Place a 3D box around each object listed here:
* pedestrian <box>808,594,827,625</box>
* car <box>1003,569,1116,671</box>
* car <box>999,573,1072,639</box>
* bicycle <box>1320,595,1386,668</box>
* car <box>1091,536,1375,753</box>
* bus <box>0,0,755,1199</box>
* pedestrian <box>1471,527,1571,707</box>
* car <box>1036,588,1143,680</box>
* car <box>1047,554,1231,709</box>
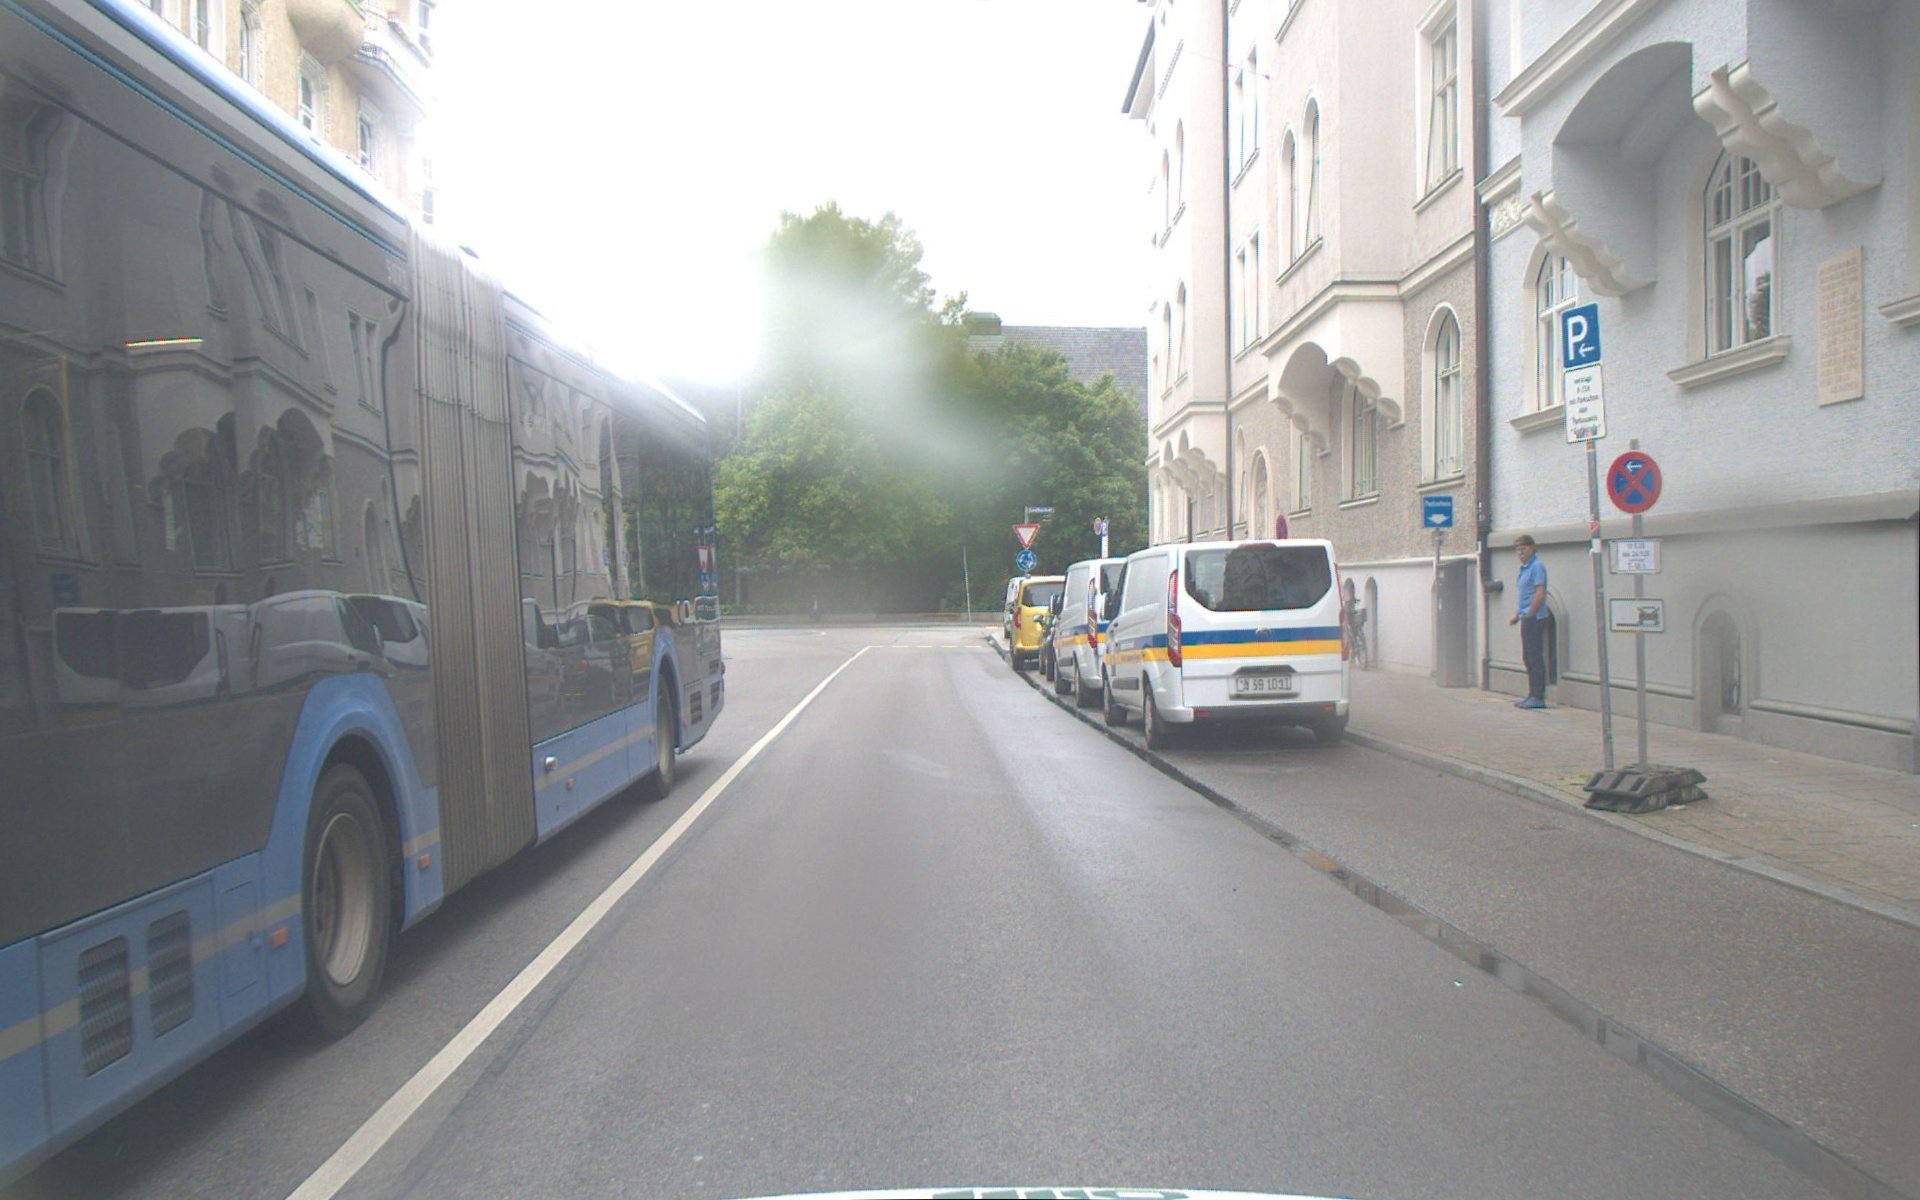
[{"bbox_3d":[-6.547,0.429,75.810,0.753,1.380,1.131,-1,0,0],"label":"pedestrian"},{"bbox_3d":[2.008,0.381,34.741,1.953,1.952,4.570,-1,0,-2],"label":"car"},{"bbox_3d":[2.391,0.164,53.488,1.899,1.955,5.373,-2,0,-2],"label":"car"},{"bbox_3d":[6.484,0.498,27.332,0.652,1.153,1.722,-1,0,0],"label":"bicycle"},{"bbox_3d":[2.709,0.398,17.642,1.954,1.952,4.875,-1,0,-3],"label":"car"},{"bbox_3d":[-3.559,-0.063,6.951,3.107,3.268,18.056,-2,0,0],"label":"bus"},{"bbox_3d":[6.187,0.183,18.273,0.834,1.936,0.746,-1,0,2],"label":"pedestrian"},{"bbox_3d":[2.280,0.563,29.875,1.600,1.540,3.885,-1,0,0],"label":"car"},{"bbox_3d":[2.431,0.393,23.662,1.953,1.952,4.885,-1,0,-2],"label":"car"}]
